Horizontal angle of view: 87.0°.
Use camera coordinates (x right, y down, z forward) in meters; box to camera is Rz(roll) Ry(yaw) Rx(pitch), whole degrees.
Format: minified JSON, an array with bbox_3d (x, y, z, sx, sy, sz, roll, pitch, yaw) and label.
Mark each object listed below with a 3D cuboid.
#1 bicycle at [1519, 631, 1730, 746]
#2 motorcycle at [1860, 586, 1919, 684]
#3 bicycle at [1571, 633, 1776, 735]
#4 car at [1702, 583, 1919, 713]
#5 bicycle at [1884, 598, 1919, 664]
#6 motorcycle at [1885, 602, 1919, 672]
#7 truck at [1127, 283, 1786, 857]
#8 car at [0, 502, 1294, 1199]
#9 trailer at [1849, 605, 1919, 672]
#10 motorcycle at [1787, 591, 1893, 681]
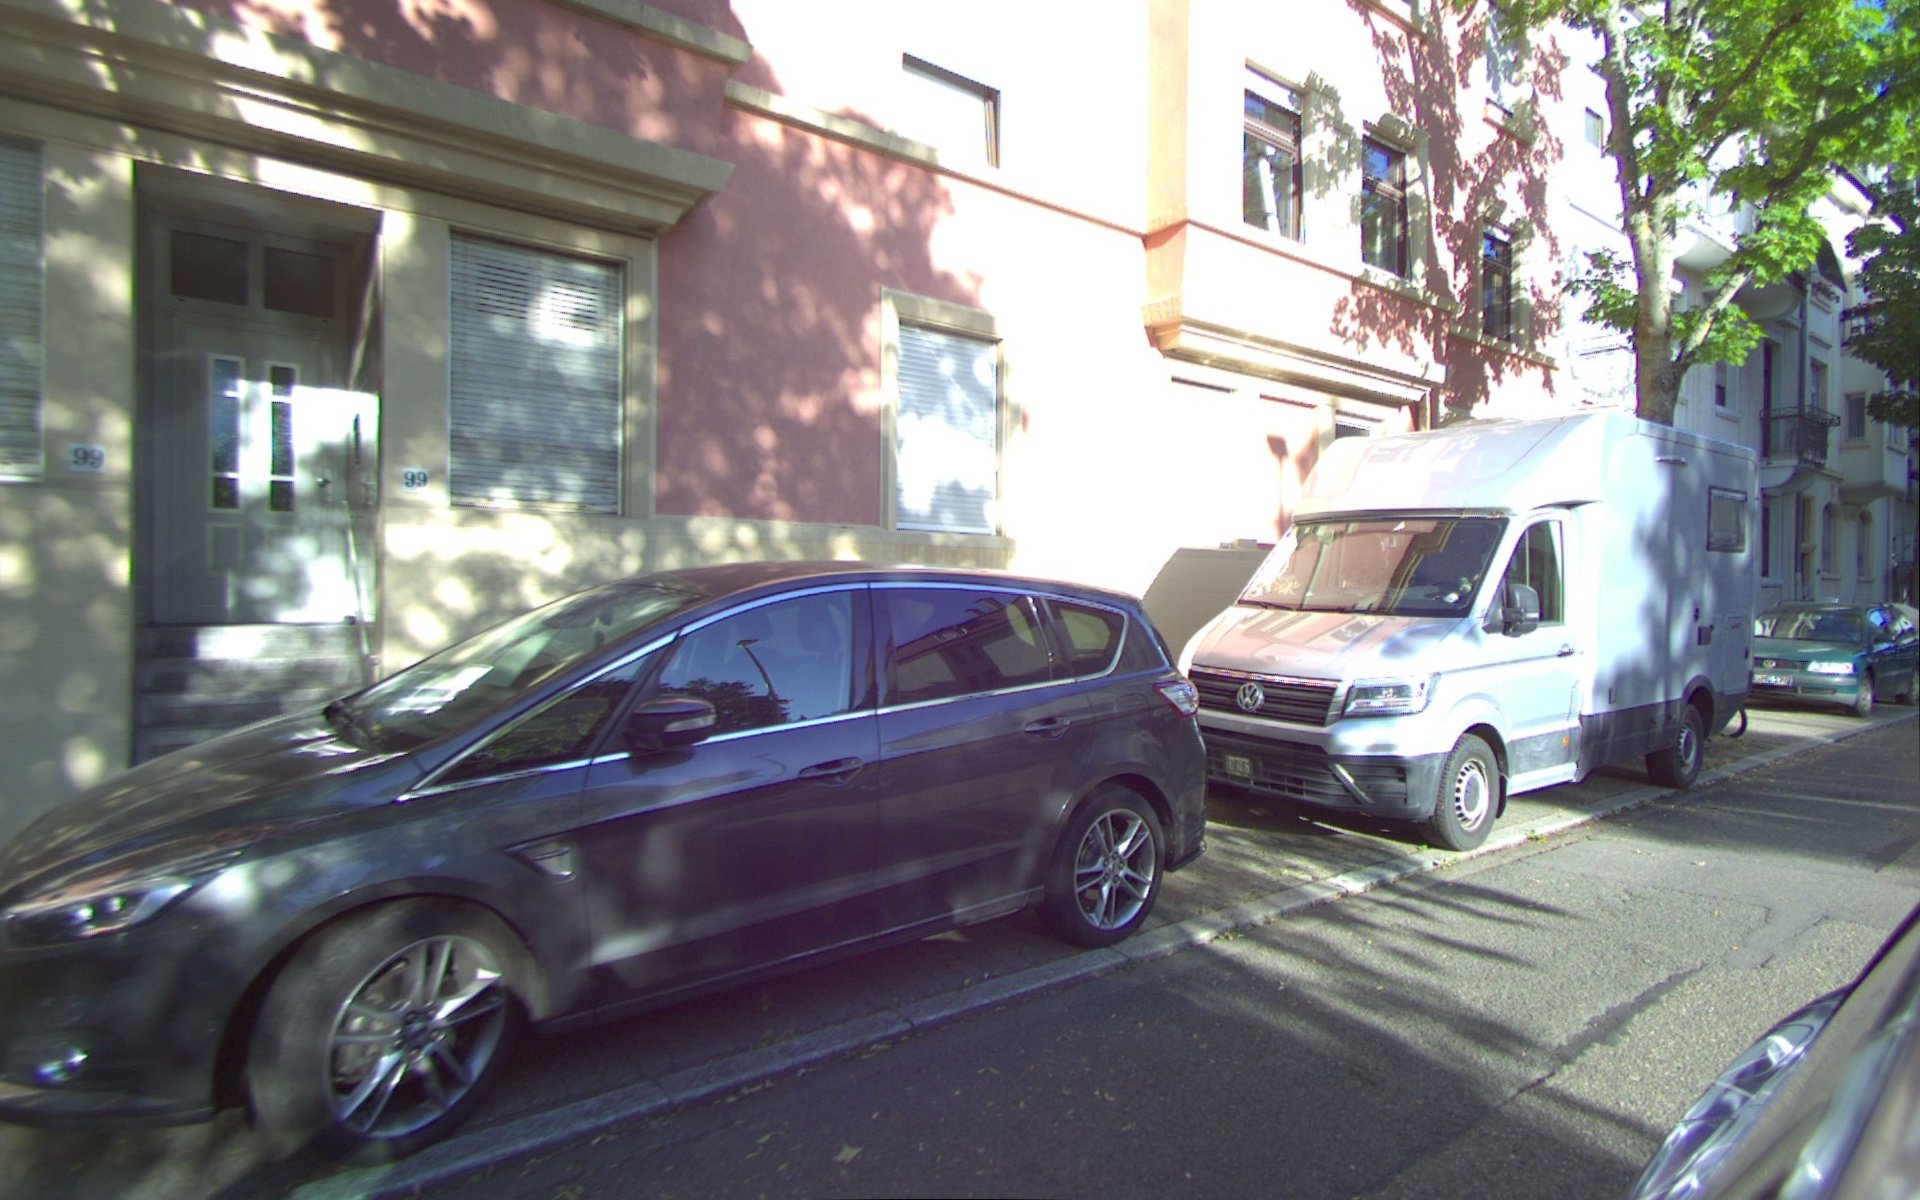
[{"bbox_3d":[6.814,0.863,10.435,0.694,1.012,1.705,0,1,-42],"label":"bicycle"},{"bbox_3d":[15.467,0.528,16.359,2.097,1.505,0.933,0,0,-35],"label":"motorcycle"},{"bbox_3d":[7.916,0.897,11.310,0.568,0.961,1.791,0,1,-34],"label":"bicycle"},{"bbox_3d":[12.539,0.561,14.422,4.691,1.548,1.757,0,2,-36],"label":"car"},{"bbox_3d":[19.559,0.628,20.050,0.575,1.321,1.764,0,1,-37],"label":"bicycle"},{"bbox_3d":[18.015,0.669,18.320,1.739,1.256,0.699,0,0,15],"label":"motorcycle"},{"bbox_3d":[4.207,-0.214,7.952,5.996,3.004,2.080,0,3,-37],"label":"truck"},{"bbox_3d":[-0.856,0.633,4.212,4.853,1.737,1.890,0,1,-38],"label":"car"},{"bbox_3d":[16.884,0.671,17.613,2.078,1.126,1.099,1,0,40],"label":"trailer"},{"bbox_3d":[14.894,0.567,17.113,2.192,1.434,0.864,0,0,-36],"label":"motorcycle"}]
